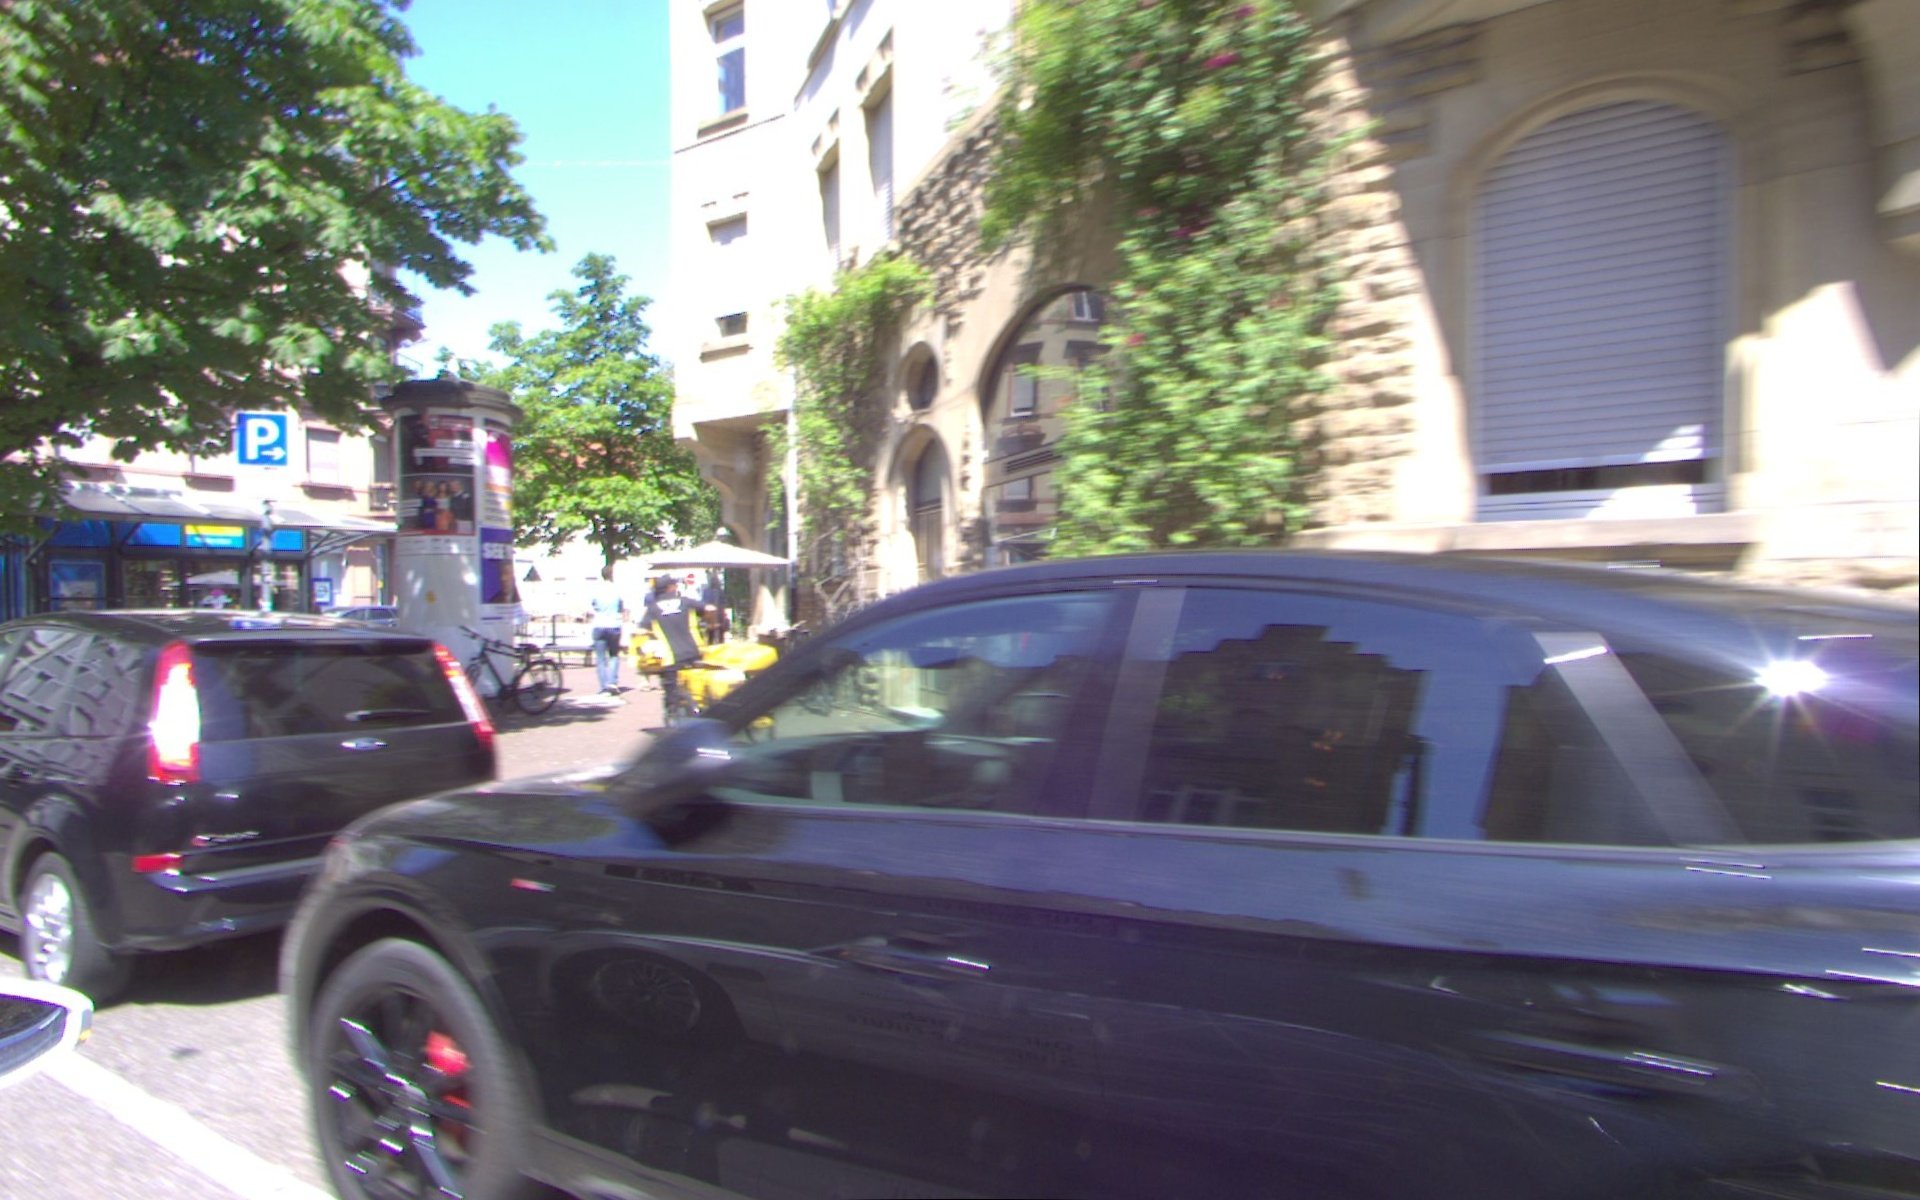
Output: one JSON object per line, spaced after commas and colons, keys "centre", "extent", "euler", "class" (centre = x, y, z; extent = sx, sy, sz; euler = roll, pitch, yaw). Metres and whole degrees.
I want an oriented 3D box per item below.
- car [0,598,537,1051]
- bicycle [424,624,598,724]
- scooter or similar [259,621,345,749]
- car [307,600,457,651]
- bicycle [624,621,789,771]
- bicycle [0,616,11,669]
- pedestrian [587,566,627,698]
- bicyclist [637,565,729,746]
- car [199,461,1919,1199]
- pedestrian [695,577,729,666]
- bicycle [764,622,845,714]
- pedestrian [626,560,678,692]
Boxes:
{"centre": [-4.254, 0.819, 5.256], "extent": [4.117, 1.560, 1.661], "euler": [0, -2, 32], "class": "car"}
{"centre": [-5.431, 0.856, 12.234], "extent": [0.625, 1.053, 1.896], "euler": [0, 1, 32], "class": "bicycle"}
{"centre": [-6.453, 0.800, 9.861], "extent": [0.436, 1.152, 1.182], "euler": [-1, 1, -21], "class": "scooter or similar"}
{"centre": [-19.154, 0.804, 33.336], "extent": [1.752, 1.526, 3.980], "euler": [0, 0, 31], "class": "car"}
{"centre": [-2.497, 0.823, 9.571], "extent": [0.785, 1.184, 2.563], "euler": [-1, 1, -31], "class": "bicycle"}
{"centre": [-21.991, 0.949, 22.100], "extent": [0.643, 1.225, 2.434], "euler": [1, -1, -22], "class": "bicycle"}
{"centre": [-5.181, 0.456, 14.708], "extent": [0.511, 1.893, 0.652], "euler": [-1, 0, -19], "class": "pedestrian"}
{"centre": [-2.681, 0.507, 9.670], "extent": [0.670, 1.670, 0.658], "euler": [-1, 1, -32], "class": "bicyclist"}
{"centre": [0.213, 0.702, 2.468], "extent": [4.281, 1.617, 1.735], "euler": [0, -2, 29], "class": "car"}
{"centre": [-5.159, 0.447, 20.875], "extent": [0.572, 1.818, 0.749], "euler": [-1, 1, -6], "class": "pedestrian"}
{"centre": [-2.033, 0.831, 12.898], "extent": [0.541, 1.053, 1.830], "euler": [-1, 1, -25], "class": "bicycle"}
{"centre": [-4.592, 0.377, 14.971], "extent": [0.590, 1.905, 0.882], "euler": [-1, 0, -8], "class": "pedestrian"}
